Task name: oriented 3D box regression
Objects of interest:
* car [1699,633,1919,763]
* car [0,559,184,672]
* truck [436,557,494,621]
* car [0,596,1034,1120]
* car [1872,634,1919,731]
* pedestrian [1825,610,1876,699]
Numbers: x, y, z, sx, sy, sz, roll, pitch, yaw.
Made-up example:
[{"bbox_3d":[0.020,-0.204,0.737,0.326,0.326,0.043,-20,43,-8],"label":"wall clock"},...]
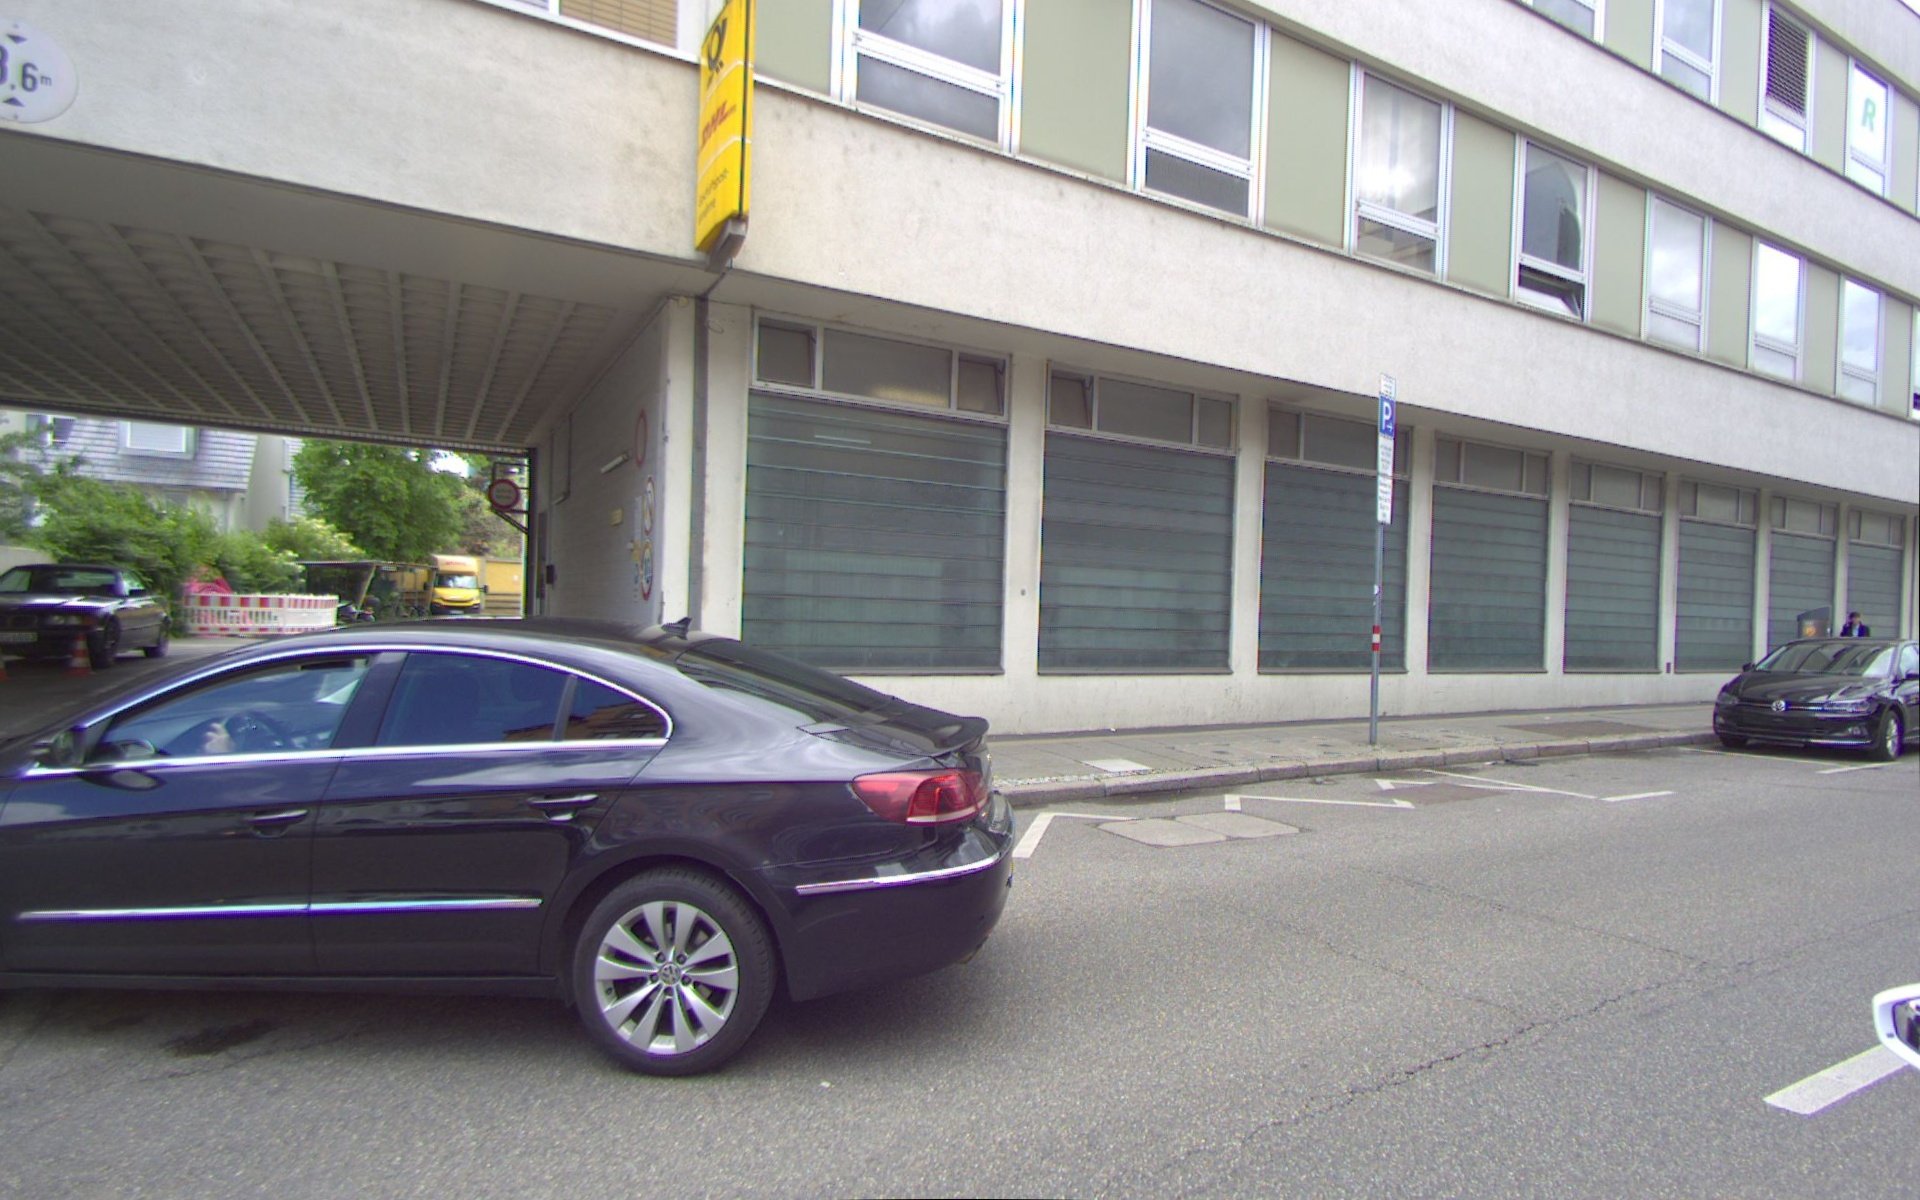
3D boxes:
[{"bbox_3d":[11.487,1.173,13.059,3.826,1.444,1.708,2,-2,-31],"label":"car"},{"bbox_3d":[-12.244,0.154,13.899,1.604,1.341,4.421,2,0,-28],"label":"car"},{"bbox_3d":[-23.424,-0.570,47.746,1.972,2.789,7.255,2,1,-23],"label":"truck"},{"bbox_3d":[-1.927,0.765,3.935,4.364,1.417,1.658,2,0,3],"label":"car"},{"bbox_3d":[16.414,1.276,15.727,4.209,1.444,1.809,1,-2,-27],"label":"car"},{"bbox_3d":[18.032,1.092,20.348,0.642,1.741,0.586,1,0,-30],"label":"pedestrian"}]
